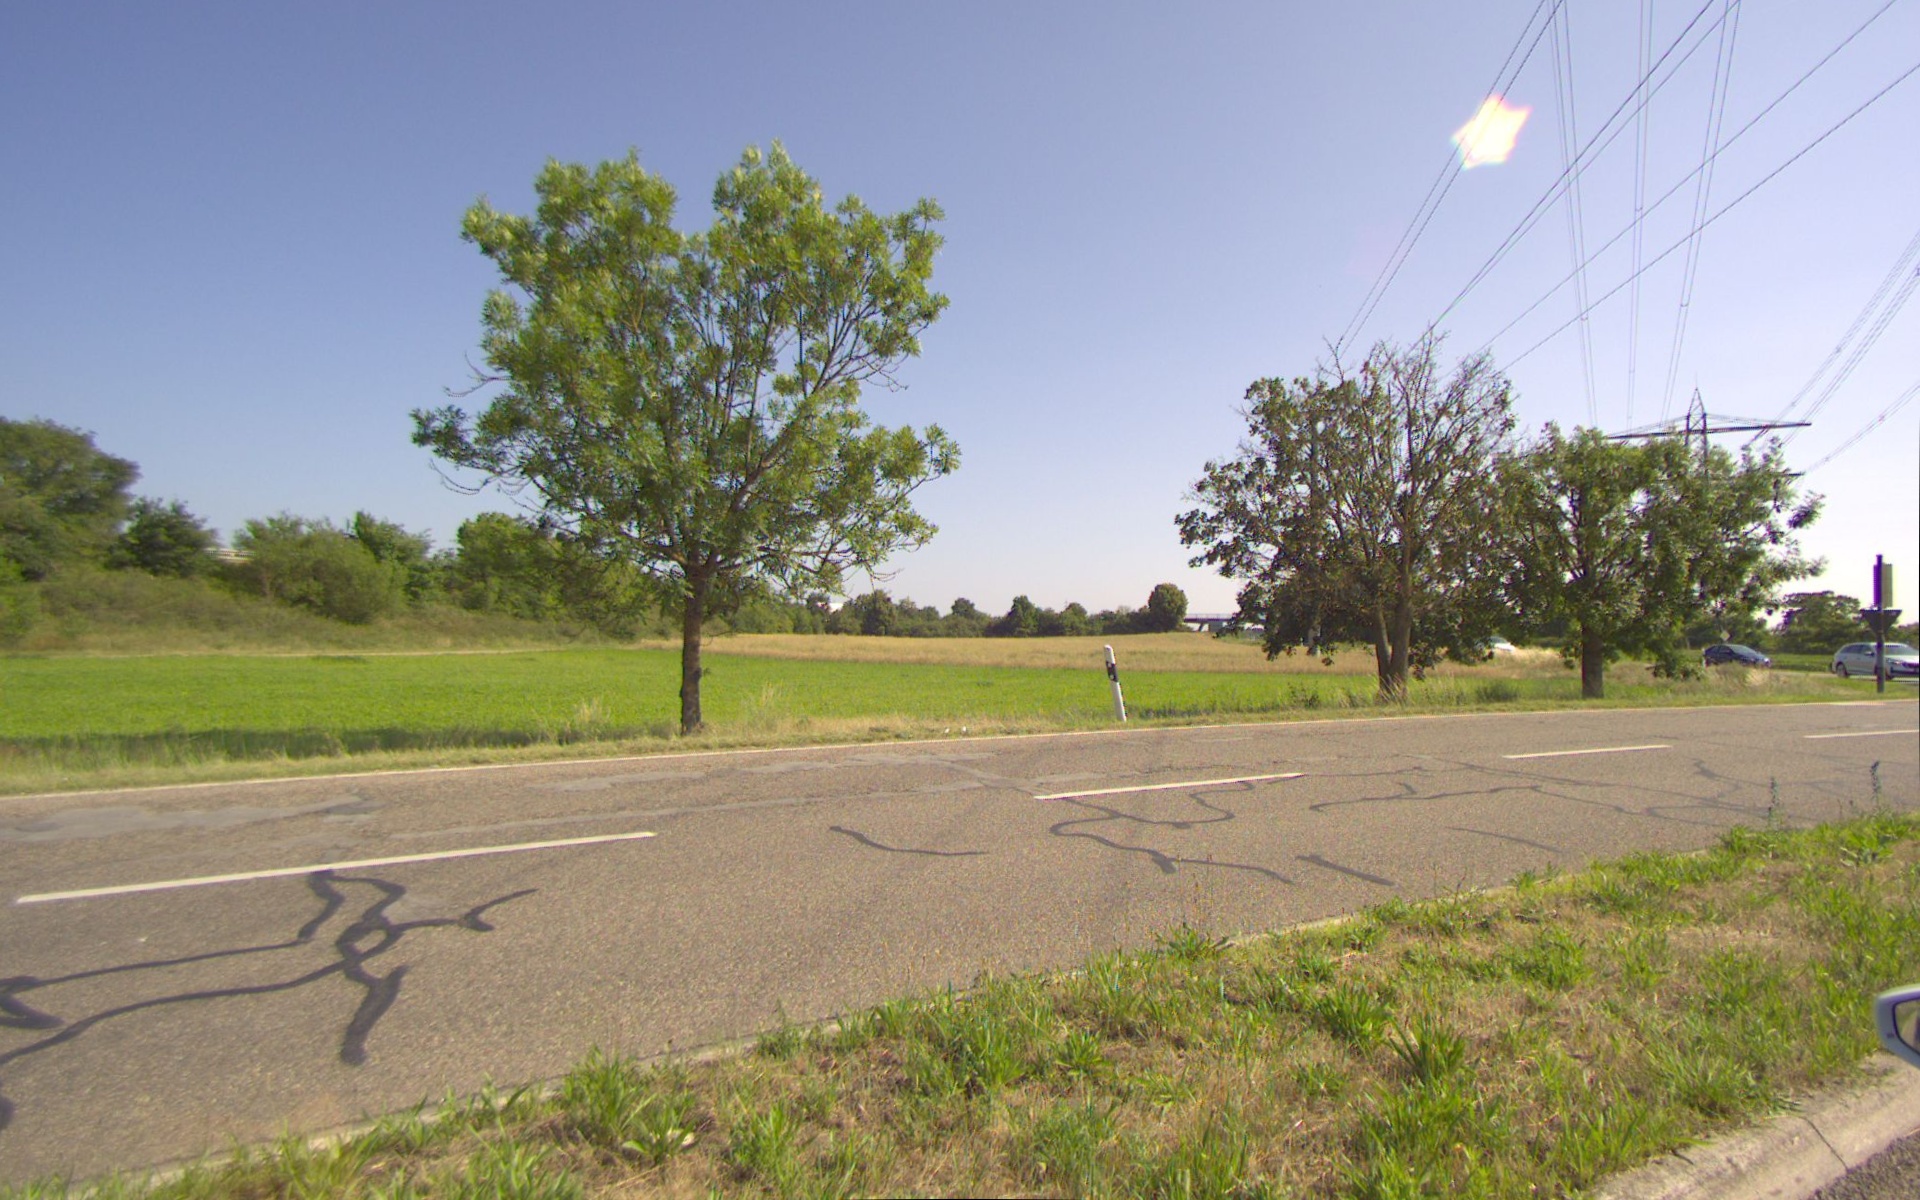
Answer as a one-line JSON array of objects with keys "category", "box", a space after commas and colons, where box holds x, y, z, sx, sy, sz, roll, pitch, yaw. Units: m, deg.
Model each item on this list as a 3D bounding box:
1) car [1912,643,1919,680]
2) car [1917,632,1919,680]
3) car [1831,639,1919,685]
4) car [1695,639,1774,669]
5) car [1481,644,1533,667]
[{"category": "car", "box": [45.151, 2.804, 44.760, 1.784, 1.673, 4.002, 1, -2, 4]}, {"category": "car", "box": [33.709, 1.919, 33.357, 1.787, 1.673, 3.994, 0, -2, 28]}, {"category": "car", "box": [36.370, 2.404, 39.381, 1.783, 1.673, 4.002, 1, -2, 15]}, {"category": "car", "box": [45.914, 3.168, 59.641, 1.784, 1.673, 4.002, 1, -2, 4]}, {"category": "car", "box": [44.045, 4.462, 81.014, 1.784, 1.673, 4.763, 1, -1, 4]}]
